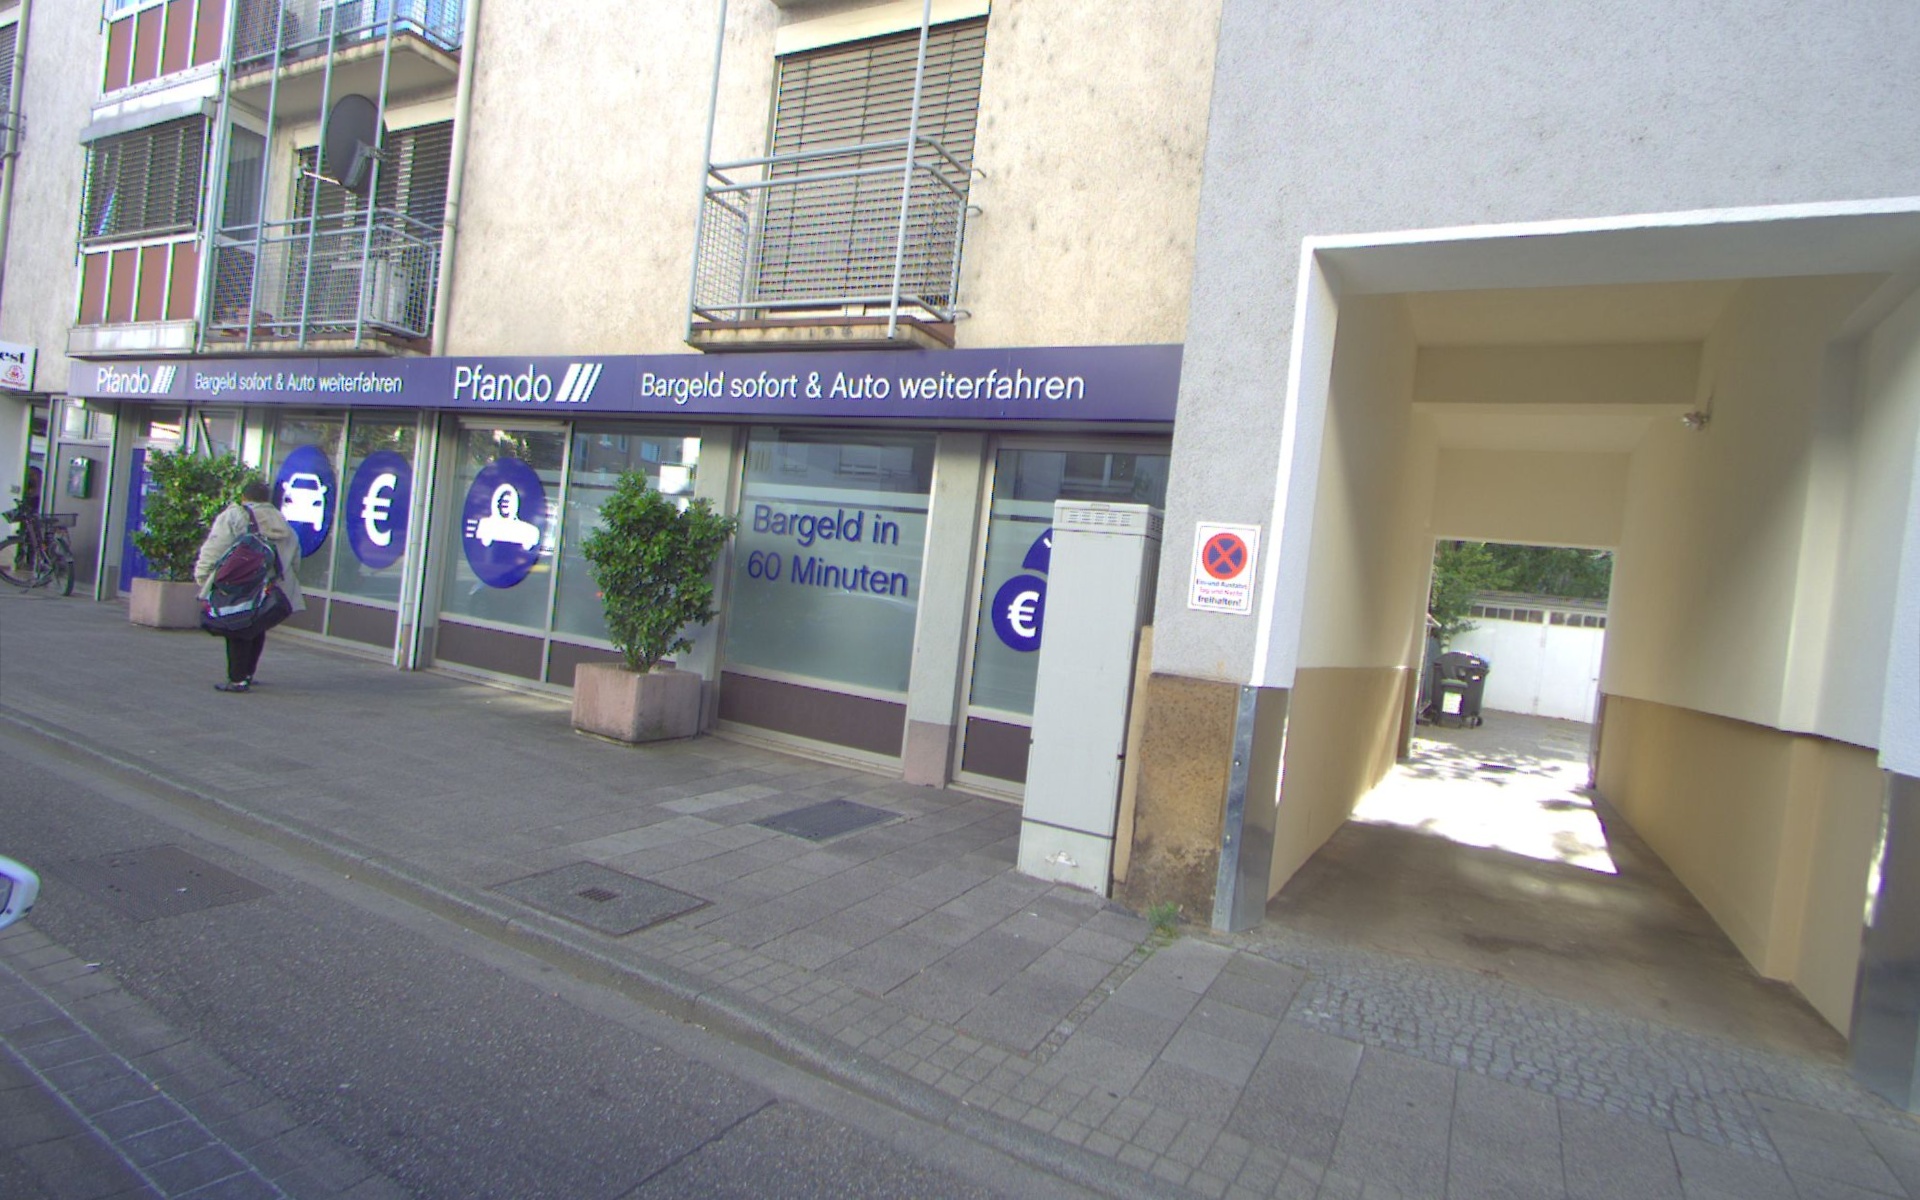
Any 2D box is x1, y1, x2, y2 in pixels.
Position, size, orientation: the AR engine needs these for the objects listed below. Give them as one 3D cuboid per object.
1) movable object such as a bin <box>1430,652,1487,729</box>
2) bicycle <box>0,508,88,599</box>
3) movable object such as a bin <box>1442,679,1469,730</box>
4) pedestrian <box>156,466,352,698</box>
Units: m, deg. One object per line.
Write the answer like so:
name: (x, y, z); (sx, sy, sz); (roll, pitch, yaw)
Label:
movable object such as a bin: (9.988, 1.792, 20.151); (0.873, 1.411, 0.758); (7, 2, 28)
bicycle: (-11.871, -0.613, 12.846); (1.678, 1.010, 0.543); (6, -1, 32)
movable object such as a bin: (9.537, 2.002, 19.373); (0.365, 0.920, 0.420); (7, 2, 28)
pedestrian: (-5.314, -0.119, 7.595); (0.738, 1.611, 0.827); (6, -1, 31)
